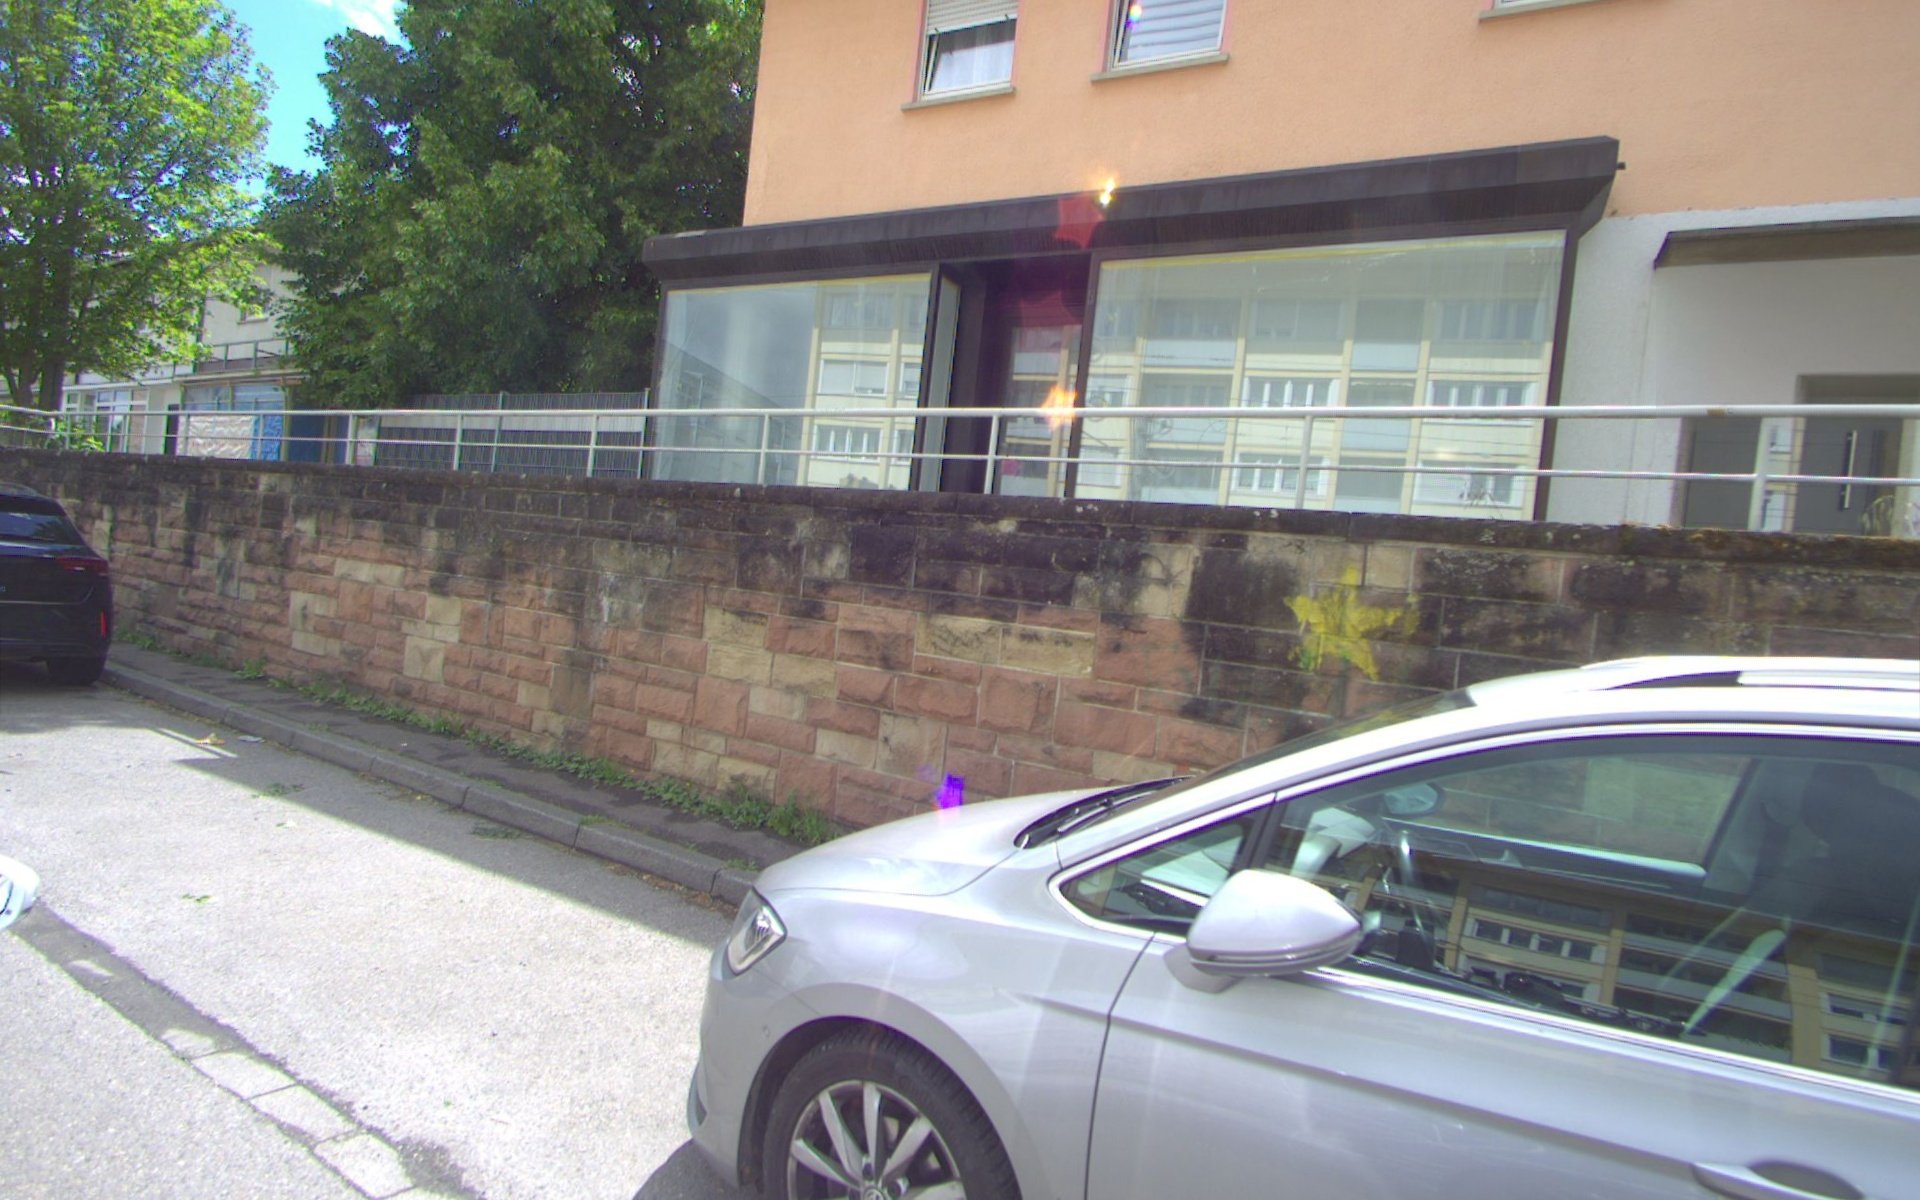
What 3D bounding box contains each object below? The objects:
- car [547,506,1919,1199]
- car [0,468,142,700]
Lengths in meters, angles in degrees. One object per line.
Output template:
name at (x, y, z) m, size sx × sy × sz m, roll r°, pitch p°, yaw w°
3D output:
car at (1.309, 0.842, 2.133) m, size 4.177 × 1.638 × 1.792 m, roll 6°, pitch 1°, yaw 31°
car at (-8.592, -0.298, 8.135) m, size 3.935 × 1.660 × 1.852 m, roll 6°, pitch 1°, yaw 33°
